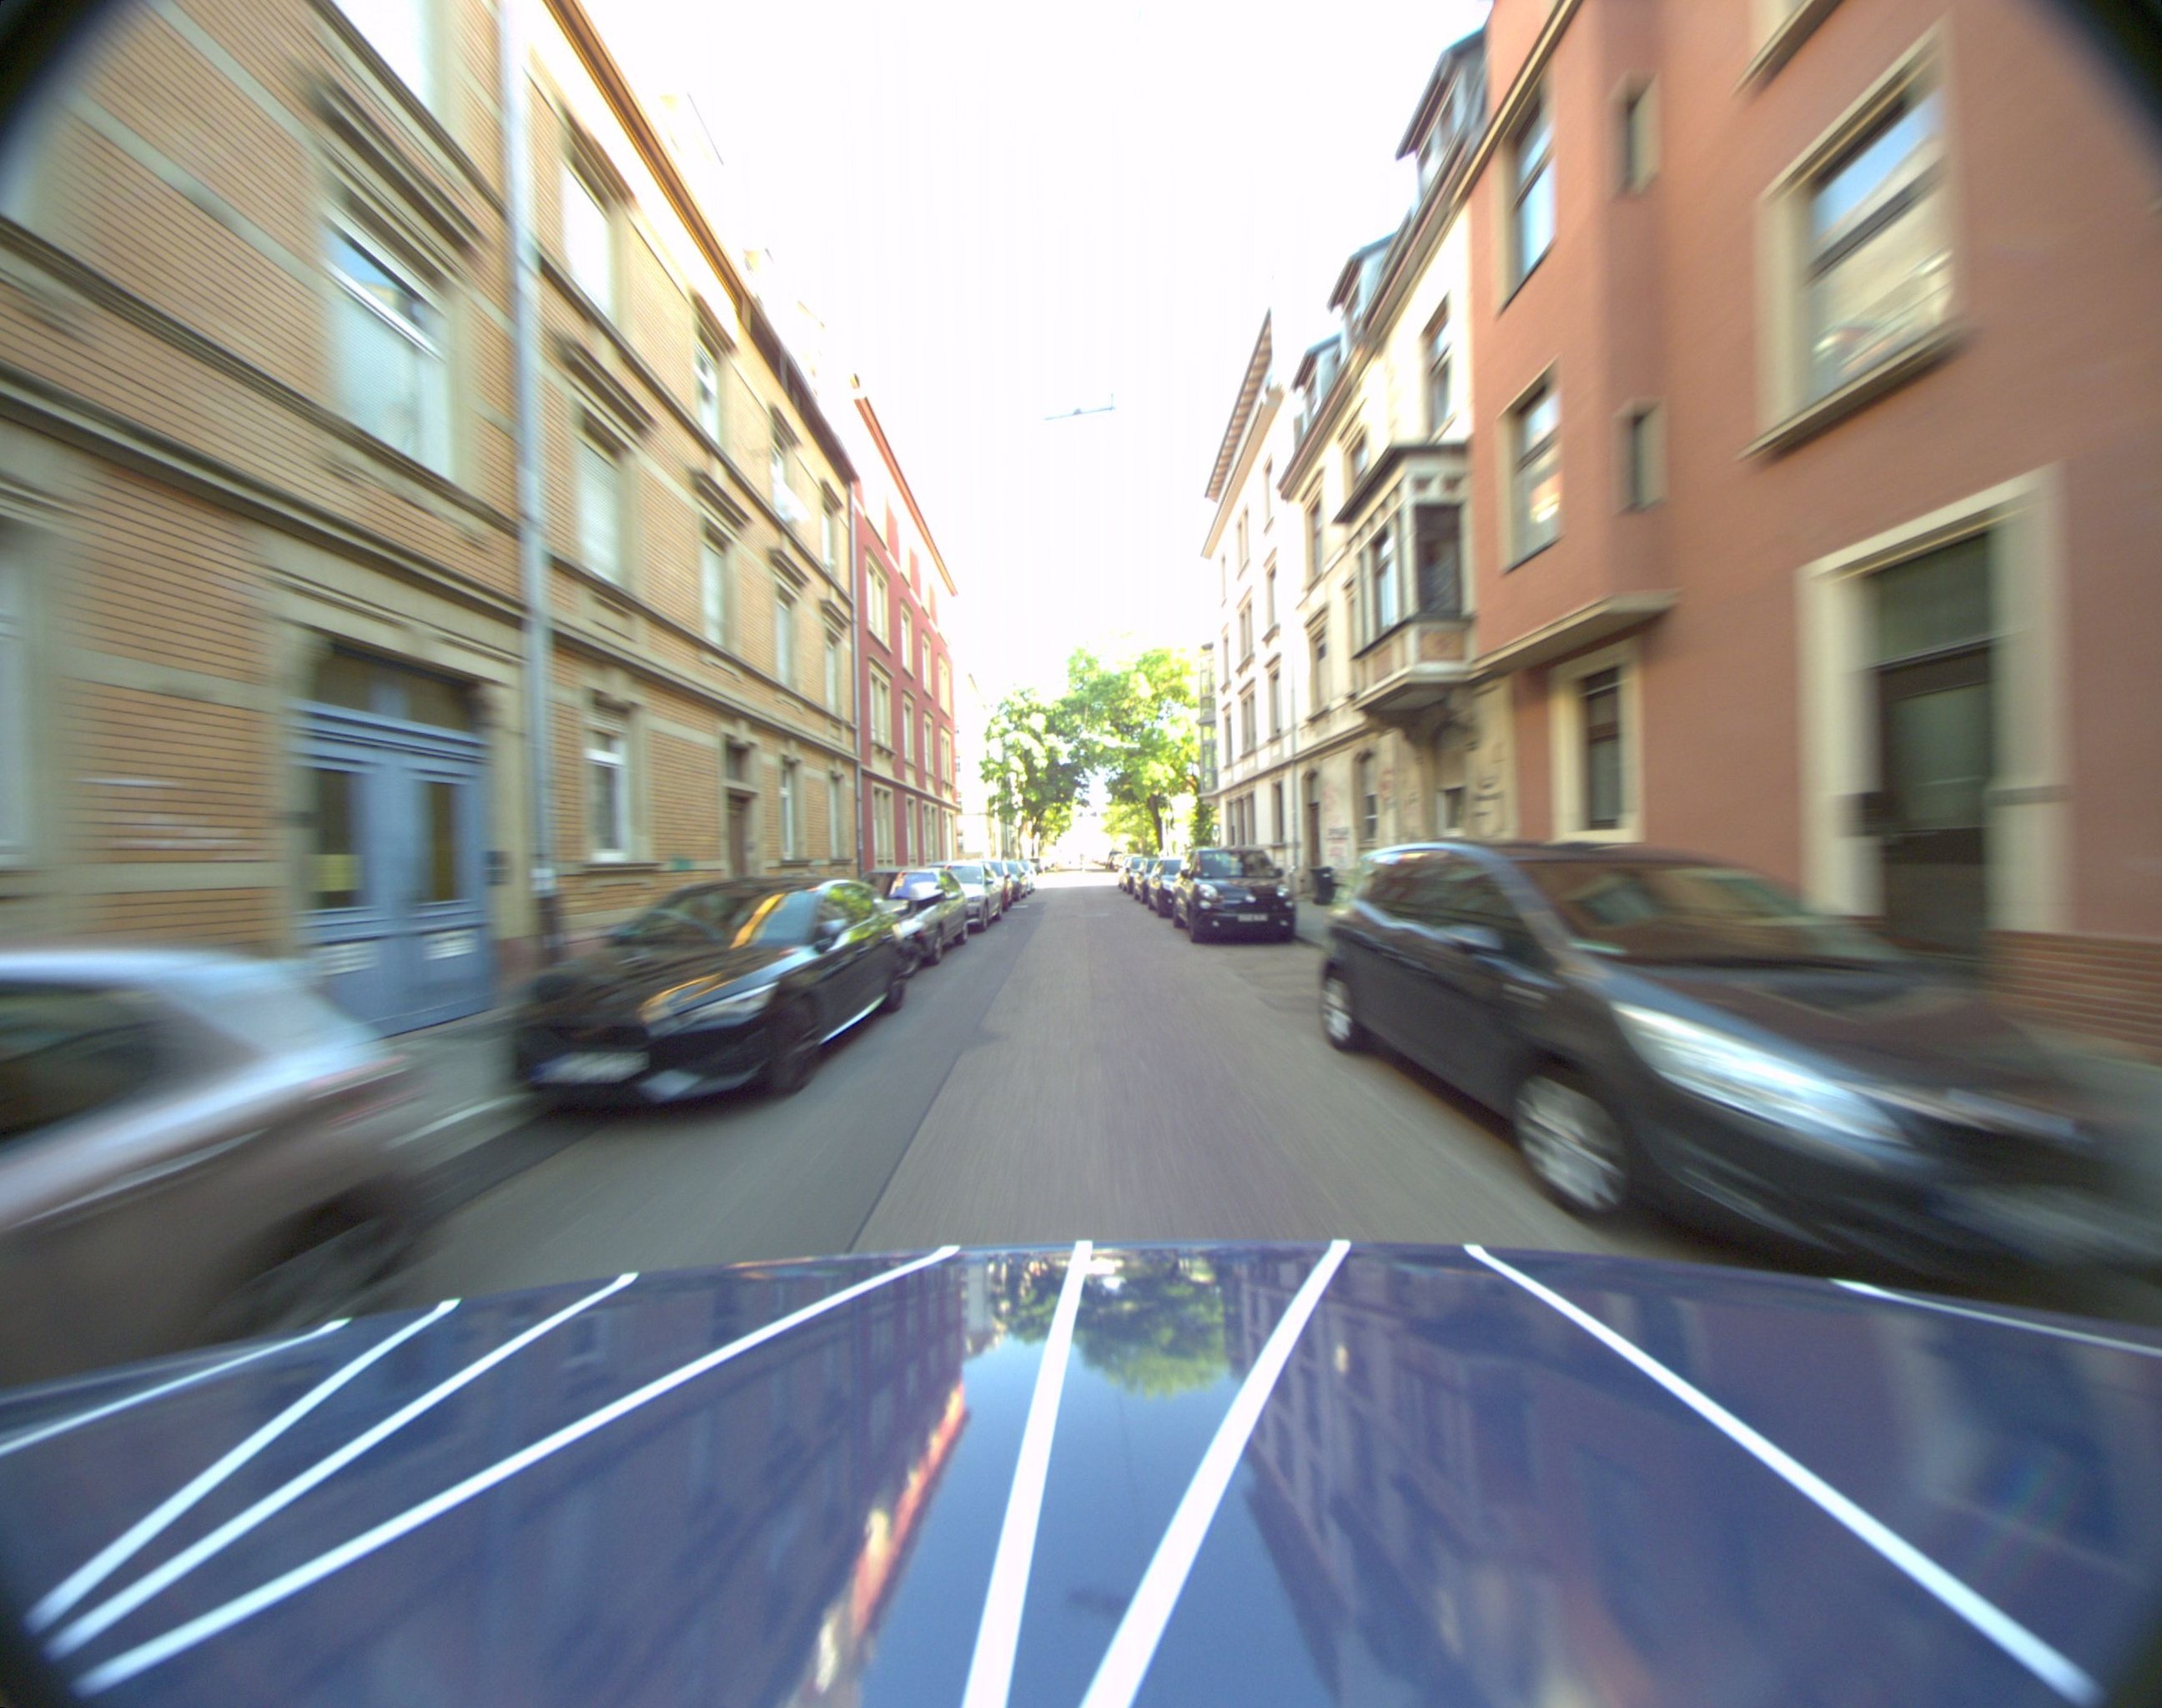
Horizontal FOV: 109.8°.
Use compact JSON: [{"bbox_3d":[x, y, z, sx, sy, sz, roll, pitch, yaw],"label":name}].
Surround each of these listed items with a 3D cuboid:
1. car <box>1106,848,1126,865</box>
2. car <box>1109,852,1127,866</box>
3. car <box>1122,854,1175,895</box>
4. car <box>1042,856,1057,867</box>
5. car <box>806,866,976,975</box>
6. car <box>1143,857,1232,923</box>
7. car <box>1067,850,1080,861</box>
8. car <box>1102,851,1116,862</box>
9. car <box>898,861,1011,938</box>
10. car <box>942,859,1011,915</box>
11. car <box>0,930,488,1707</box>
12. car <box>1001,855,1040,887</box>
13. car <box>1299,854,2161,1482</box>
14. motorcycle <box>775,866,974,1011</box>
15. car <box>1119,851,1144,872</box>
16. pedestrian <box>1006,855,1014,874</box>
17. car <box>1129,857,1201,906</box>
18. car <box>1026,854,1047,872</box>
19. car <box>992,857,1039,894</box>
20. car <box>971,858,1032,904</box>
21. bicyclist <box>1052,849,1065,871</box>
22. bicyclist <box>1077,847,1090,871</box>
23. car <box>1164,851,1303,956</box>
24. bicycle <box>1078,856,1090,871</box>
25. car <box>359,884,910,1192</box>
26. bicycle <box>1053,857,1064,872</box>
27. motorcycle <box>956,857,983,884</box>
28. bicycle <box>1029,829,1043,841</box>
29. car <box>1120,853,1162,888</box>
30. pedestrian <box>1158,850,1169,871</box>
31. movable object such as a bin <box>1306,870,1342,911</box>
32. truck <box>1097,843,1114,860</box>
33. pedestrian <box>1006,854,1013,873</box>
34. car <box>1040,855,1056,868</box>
[{"bbox_3d":[4.033,0.252,87.727,1.998,1.946,5.042,1,0,0],"label":"car"},{"bbox_3d":[3.982,0.490,82.245,1.731,1.455,3.844,0,0,0],"label":"car"},{"bbox_3d":[2.661,0.778,30.671,1.785,1.474,3.742,-2,0,1],"label":"car"},{"bbox_3d":[-4.284,0.949,102.878,1.812,1.412,4.000,-2,0,0],"label":"car"},{"bbox_3d":[-2.877,0.945,12.396,1.696,1.398,3.992,-1,0,1],"label":"car"},{"bbox_3d":[2.592,0.833,19.328,1.647,1.447,3.838,1,0,-1],"label":"car"},{"bbox_3d":[-1.377,0.292,137.555,2.146,2.002,4.863,-2,0,0],"label":"car"},{"bbox_3d":[3.962,0.293,108.557,1.755,1.464,4.000,-3,0,0],"label":"car"},{"bbox_3d":[-2.734,0.928,17.384,1.766,1.475,4.401,-1,0,1],"label":"car"},{"bbox_3d":[-3.081,0.931,23.126,1.663,1.471,4.023,-1,0,-2],"label":"car"},{"bbox_3d":[-2.991,1.016,0.686,1.730,1.409,4.093,3,0,-2],"label":"car"},{"bbox_3d":[-2.968,0.812,37.963,1.672,1.474,3.705,-2,0,-1],"label":"car"},{"bbox_3d":[2.694,0.823,4.042,1.786,1.596,4.068,-2,0,-1],"label":"car"},{"bbox_3d":[-2.615,0.998,9.660,2.229,1.528,0.888,-4,1,-26],"label":"motorcycle"},{"bbox_3d":[4.075,0.607,62.020,1.710,1.549,3.951,2,1,0],"label":"car"},{"bbox_3d":[-6.892,1.045,73.933,0.706,1.834,0.840,-2,1,-6],"label":"pedestrian"},{"bbox_3d":[2.631,0.818,24.448,1.786,1.395,3.742,-2,0,-1],"label":"car"},{"bbox_3d":[-3.942,0.760,68.278,1.685,1.531,4.133,0,0,-1],"label":"car"},{"bbox_3d":[-2.822,0.898,33.444,1.709,1.454,3.970,-2,0,0],"label":"car"},{"bbox_3d":[-2.811,0.902,27.600,1.681,1.494,4.069,-1,0,1],"label":"car"},{"bbox_3d":[-1.812,0.486,61.956,0.934,1.809,1.078,-2,1,0],"label":"bicyclist"},{"bbox_3d":[0.209,0.425,61.826,0.967,1.904,1.139,-2,1,0],"label":"bicyclist"},{"bbox_3d":[2.640,0.776,14.114,1.765,1.608,4.189,-1,0,1],"label":"car"},{"bbox_3d":[0.230,0.786,61.937,0.985,1.136,2.547,-1,0,0],"label":"bicycle"},{"bbox_3d":[-2.789,1.035,6.073,1.782,1.388,4.317,-1,0,1],"label":"car"},{"bbox_3d":[-1.794,0.852,61.869,0.810,1.136,2.547,-1,0,0],"label":"bicycle"},{"bbox_3d":[-6.706,0.980,45.797,0.873,1.516,2.624,-1,0,8],"label":"motorcycle"},{"bbox_3d":[-4.630,-1.940,78.451,1.414,1.188,0.336,-4,1,-2],"label":"bicycle"},{"bbox_3d":[2.748,0.724,35.715,1.785,1.474,3.932,-2,0,2],"label":"car"},{"bbox_3d":[6.790,0.533,62.639,0.805,1.736,1.006,-1,1,0],"label":"pedestrian"},{"bbox_3d":[5.822,0.866,18.204,0.614,0.915,0.733,-2,1,0],"label":"movable object such as a bin"},{"bbox_3d":[4.062,-0.372,126.336,2.395,2.641,7.092,-1,0,-2],"label":"truck"},{"bbox_3d":[-6.852,0.916,72.888,0.529,1.834,0.707,-2,1,1],"label":"pedestrian"},{"bbox_3d":[-4.160,0.905,97.187,1.824,1.521,4.000,-2,0,0],"label":"car"}]
